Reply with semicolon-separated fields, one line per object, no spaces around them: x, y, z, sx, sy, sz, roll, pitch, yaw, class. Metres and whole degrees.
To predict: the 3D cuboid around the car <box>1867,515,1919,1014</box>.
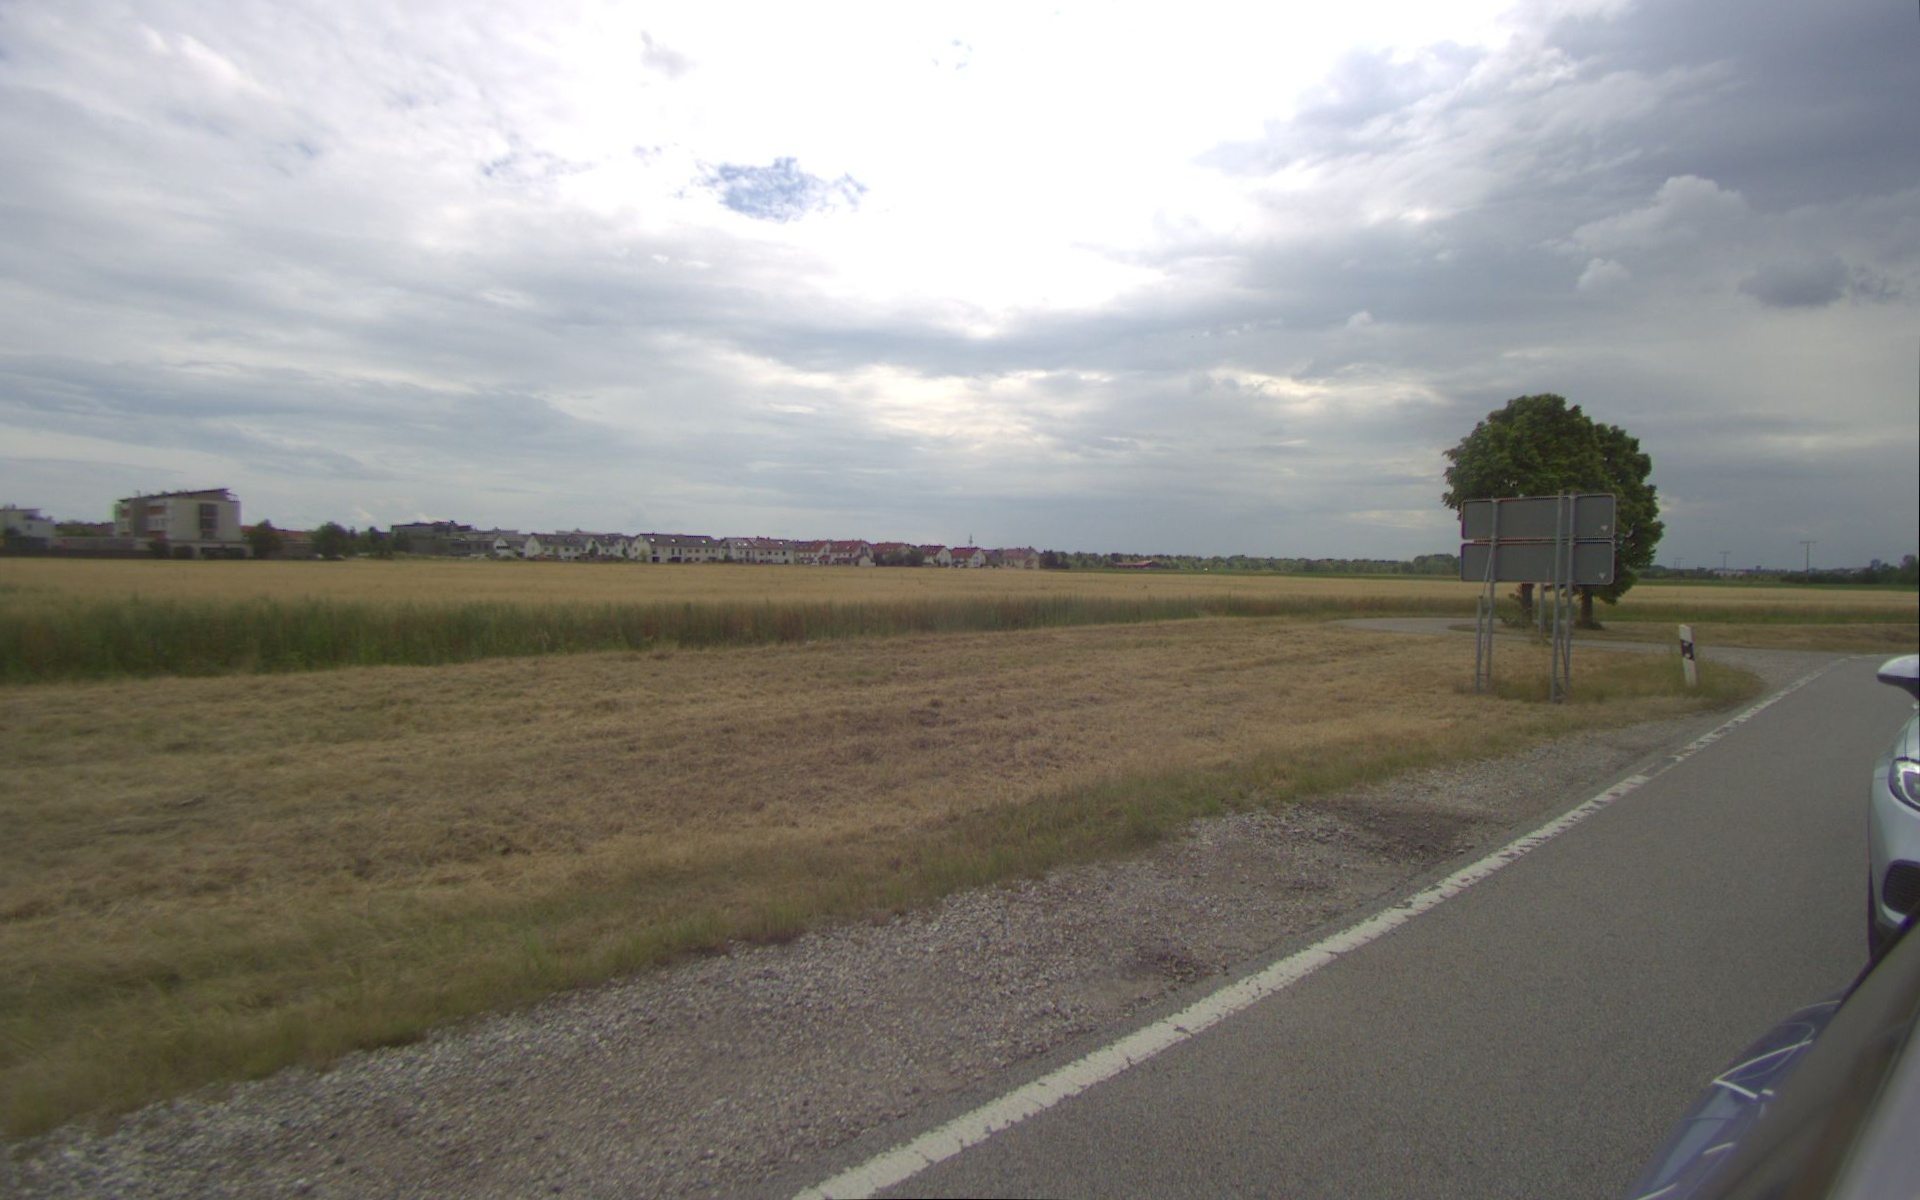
5.221;0.541;4.184;4.376;1.606;1.834;-1;3;-44;car
